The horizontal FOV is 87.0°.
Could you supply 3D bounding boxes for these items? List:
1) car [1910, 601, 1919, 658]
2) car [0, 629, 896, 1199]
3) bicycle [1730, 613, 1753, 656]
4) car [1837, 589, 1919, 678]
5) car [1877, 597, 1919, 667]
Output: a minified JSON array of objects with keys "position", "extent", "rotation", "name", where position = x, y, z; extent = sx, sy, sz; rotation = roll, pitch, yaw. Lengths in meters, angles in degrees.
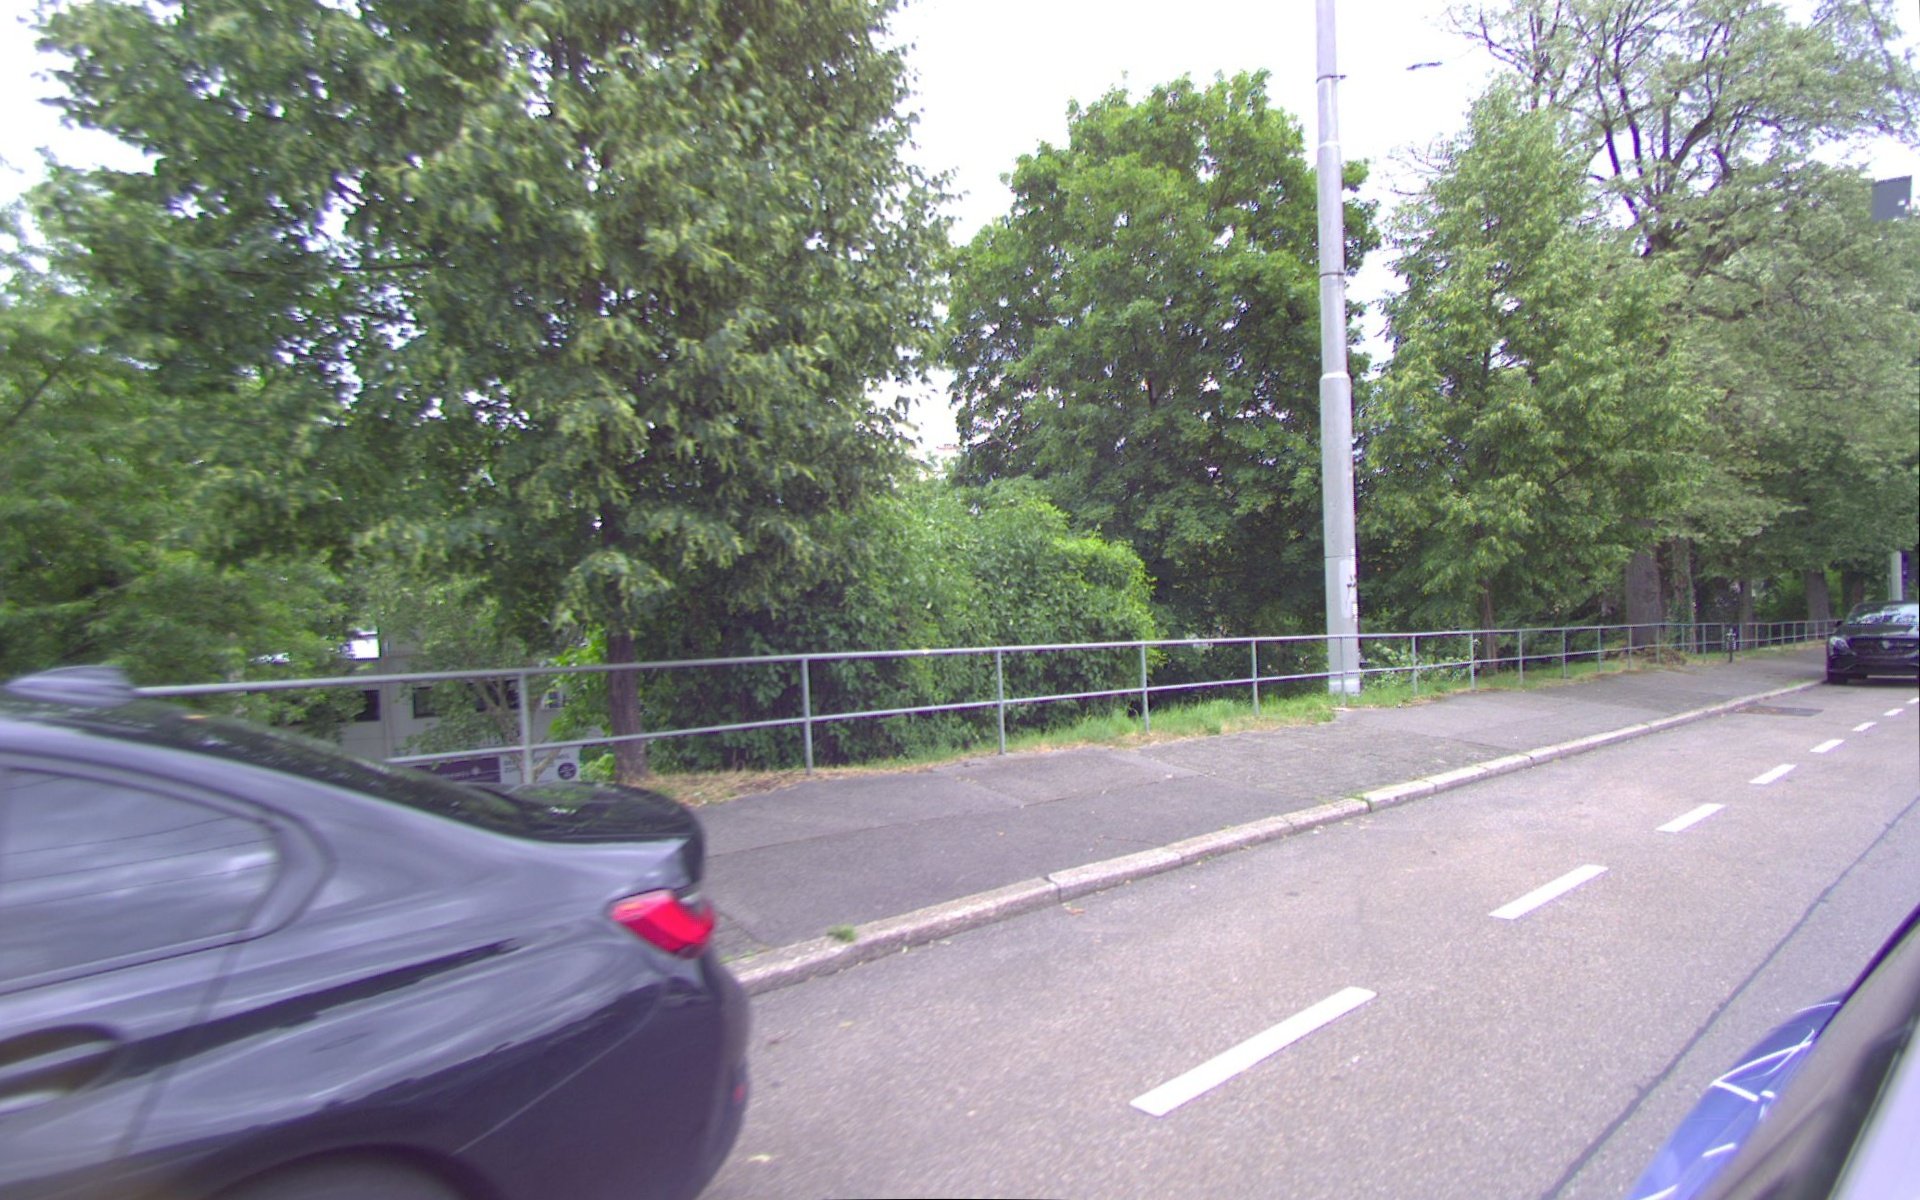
[{"position":[27.965,0.771,28.376],"extent":[3.995,1.536,1.630],"rotation":[0,-2,-43],"name":"car"},{"position":[-2.531,0.842,1.359],"extent":[4.764,1.448,1.830],"rotation":[-1,-1,-42],"name":"car"},{"position":[19.592,0.853,25.361],"extent":[0.426,0.988,1.770],"rotation":[-1,0,39],"name":"bicycle"},{"position":[20.042,0.630,21.134],"extent":[4.974,1.699,1.880],"rotation":[0,-2,-41],"name":"car"},{"position":[24.328,0.752,25.235],"extent":[4.018,1.653,1.727],"rotation":[0,-3,-43],"name":"car"}]
